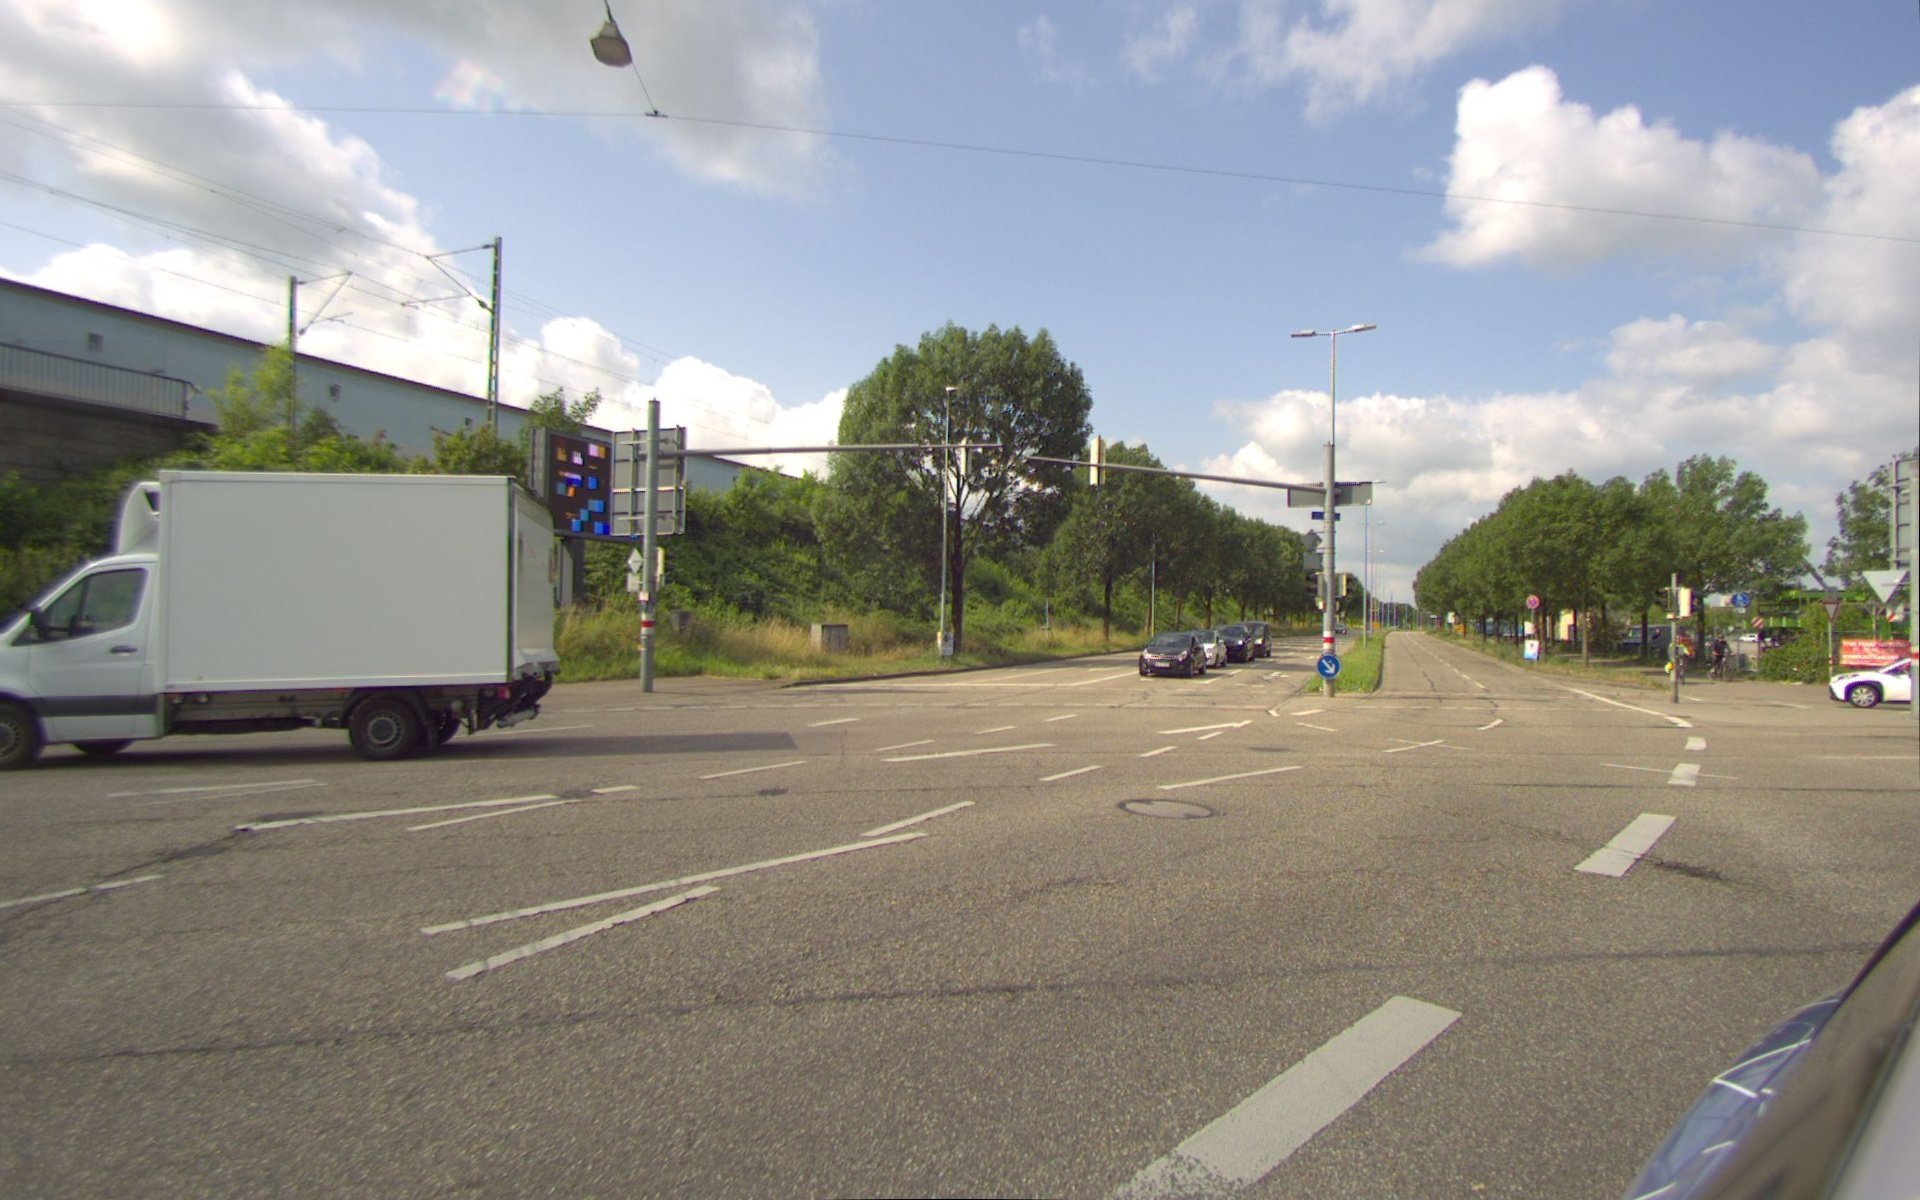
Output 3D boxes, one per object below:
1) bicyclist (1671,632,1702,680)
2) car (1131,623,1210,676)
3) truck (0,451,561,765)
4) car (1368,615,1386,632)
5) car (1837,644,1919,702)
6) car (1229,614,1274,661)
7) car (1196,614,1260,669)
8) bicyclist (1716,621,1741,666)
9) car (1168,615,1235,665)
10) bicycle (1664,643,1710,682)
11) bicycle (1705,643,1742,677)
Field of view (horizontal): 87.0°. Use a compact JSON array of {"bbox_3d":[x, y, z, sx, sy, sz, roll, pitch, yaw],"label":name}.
[{"bbox_3d":[27.452,2.098,38.255,0.668,1.700,0.834,-2,2,16],"label":"bicyclist"},{"bbox_3d":[7.016,1.582,33.451,1.724,1.538,3.795,2,0,25],"label":"car"},{"bbox_3d":[-8.015,0.150,11.847,5.901,3.162,2.458,1,-3,-14],"label":"truck"},{"bbox_3d":[45.153,2.526,109.529,1.762,1.526,3.969,2,2,23],"label":"car"},{"bbox_3d":[26.653,2.069,27.830,3.780,1.498,1.725,1,-4,40],"label":"car"},{"bbox_3d":[14.899,1.859,51.631,1.625,1.652,4.179,3,8,23],"label":"car"},{"bbox_3d":[12.142,1.797,45.667,1.803,1.661,4.766,4,8,26],"label":"car"},{"bbox_3d":[30.125,1.696,39.675,0.671,1.708,0.747,0,-2,28],"label":"bicyclist"},{"bbox_3d":[9.576,1.547,39.960,1.954,1.771,3.993,3,-1,22],"label":"car"},{"bbox_3d":[27.505,2.345,38.323,0.668,1.210,2.223,-2,2,16],"label":"bicycle"},{"bbox_3d":[29.959,2.332,39.718,0.784,1.211,2.211,0,-1,28],"label":"bicycle"}]
